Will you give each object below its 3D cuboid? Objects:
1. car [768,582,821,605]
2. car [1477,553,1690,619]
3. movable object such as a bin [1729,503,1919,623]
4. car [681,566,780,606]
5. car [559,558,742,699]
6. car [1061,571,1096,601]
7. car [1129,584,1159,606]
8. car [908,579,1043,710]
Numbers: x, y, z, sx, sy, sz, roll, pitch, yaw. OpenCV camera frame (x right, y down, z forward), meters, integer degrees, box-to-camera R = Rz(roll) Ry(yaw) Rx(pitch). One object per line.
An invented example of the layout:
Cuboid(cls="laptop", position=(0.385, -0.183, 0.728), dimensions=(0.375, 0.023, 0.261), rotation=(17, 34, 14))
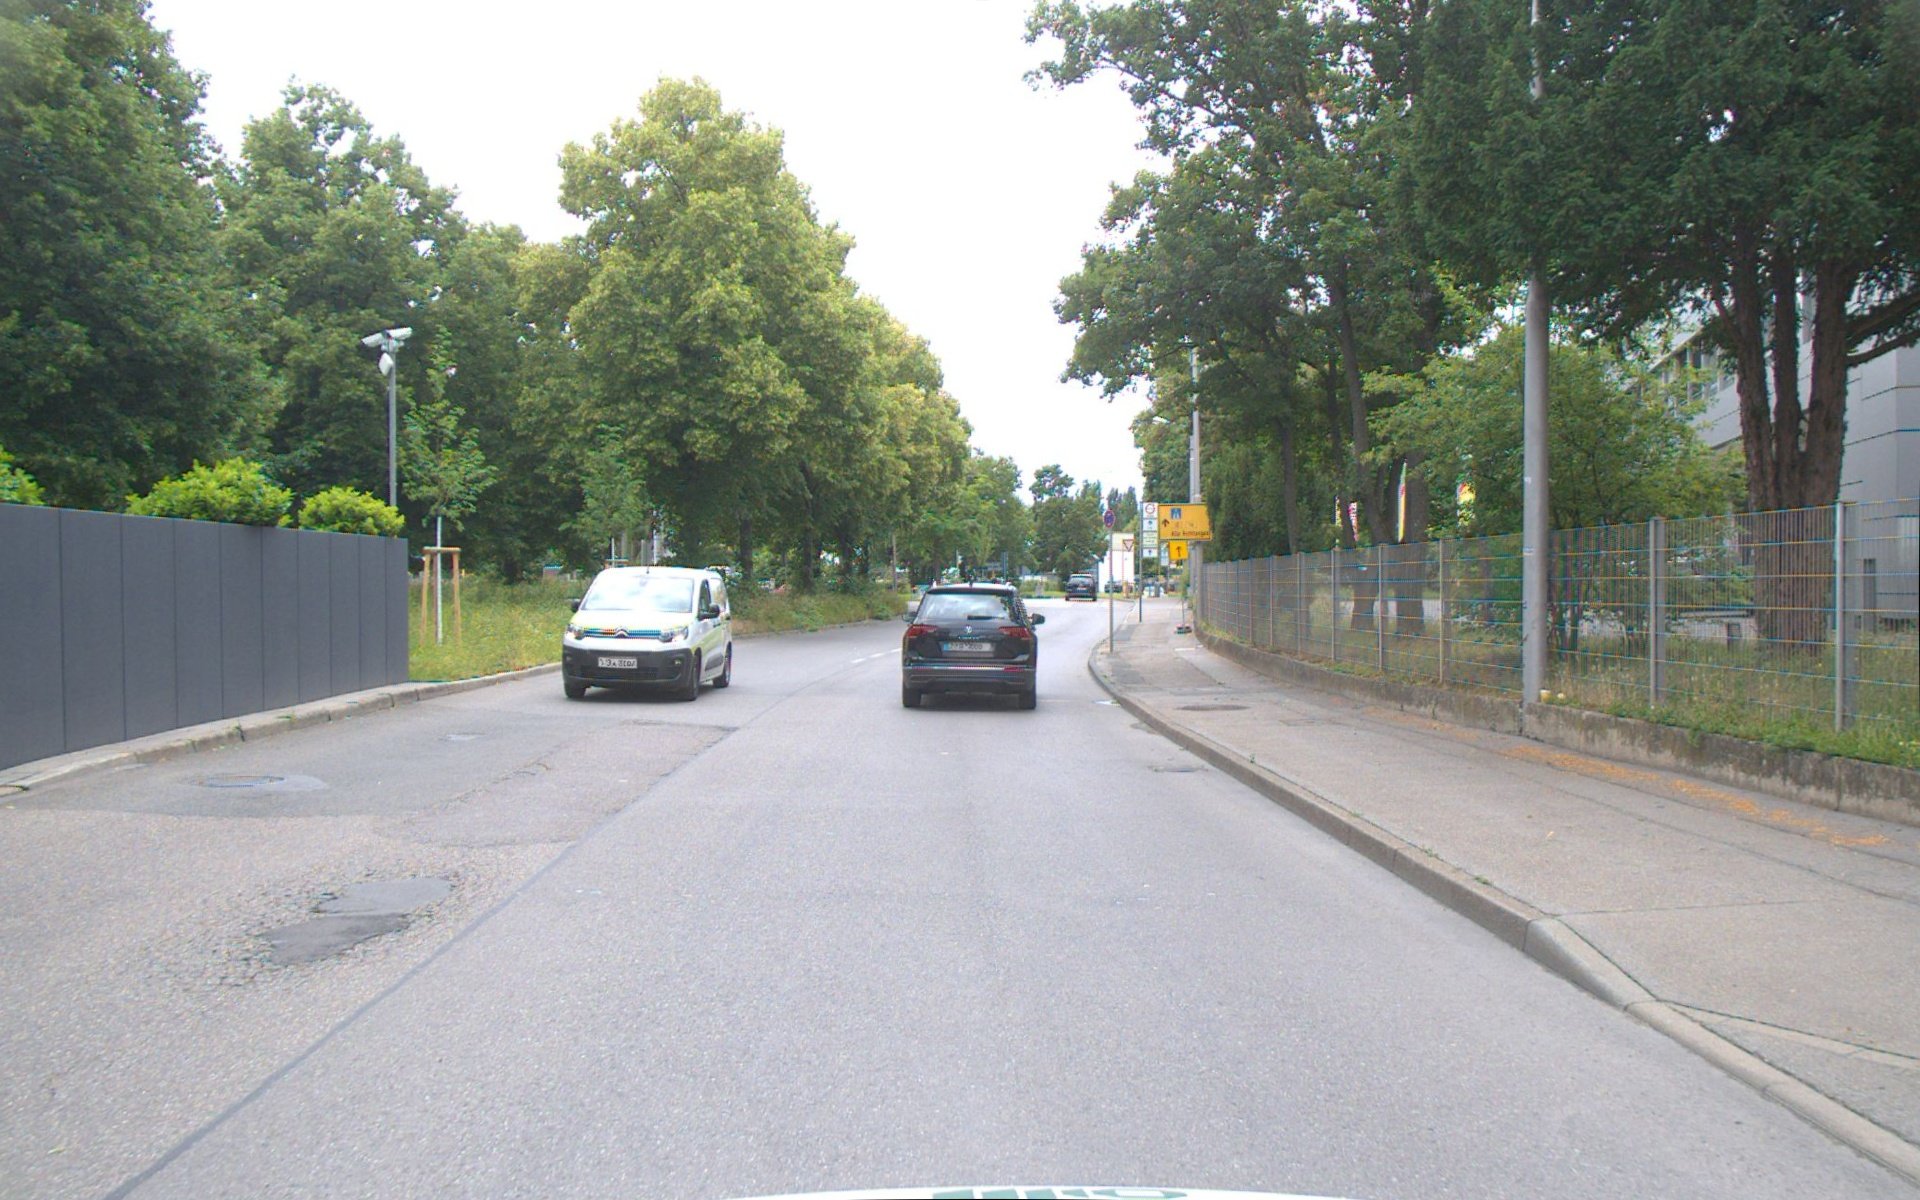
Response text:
Cuboid(cls="car", position=(-10.917, -0.435, 109.146), dimensions=(3.325, 1.504, 1.641), rotation=(-1, 1, -2))
Cuboid(cls="car", position=(15.628, -0.342, 41.639), dimensions=(1.983, 1.499, 4.620), rotation=(-2, 0, -42))
Cuboid(cls="movable object such as a bin", position=(18.486, -0.768, 34.665), dimensions=(3.902, 2.345, 1.954), rotation=(-1, 0, 11))
Cuboid(cls="car", position=(-14.668, -0.909, 105.997), dimensions=(5.945, 2.429, 2.395), rotation=(-1, 1, 1))
Cuboid(cls="car", position=(-4.267, 0.353, 23.419), dimensions=(1.771, 1.795, 4.206), rotation=(1, 0, 0))
Cuboid(cls="car", position=(6.625, -0.795, 92.487), dimensions=(1.625, 1.601, 3.828), rotation=(-1, 0, 0))
Cuboid(cls="car", position=(15.748, -0.420, 141.383), dimensions=(1.951, 1.817, 4.003), rotation=(0, 0, 16))
Cuboid(cls="car", position=(0.208, 0.563, 22.697), dimensions=(1.703, 1.646, 3.641), rotation=(0, 0, 0))
